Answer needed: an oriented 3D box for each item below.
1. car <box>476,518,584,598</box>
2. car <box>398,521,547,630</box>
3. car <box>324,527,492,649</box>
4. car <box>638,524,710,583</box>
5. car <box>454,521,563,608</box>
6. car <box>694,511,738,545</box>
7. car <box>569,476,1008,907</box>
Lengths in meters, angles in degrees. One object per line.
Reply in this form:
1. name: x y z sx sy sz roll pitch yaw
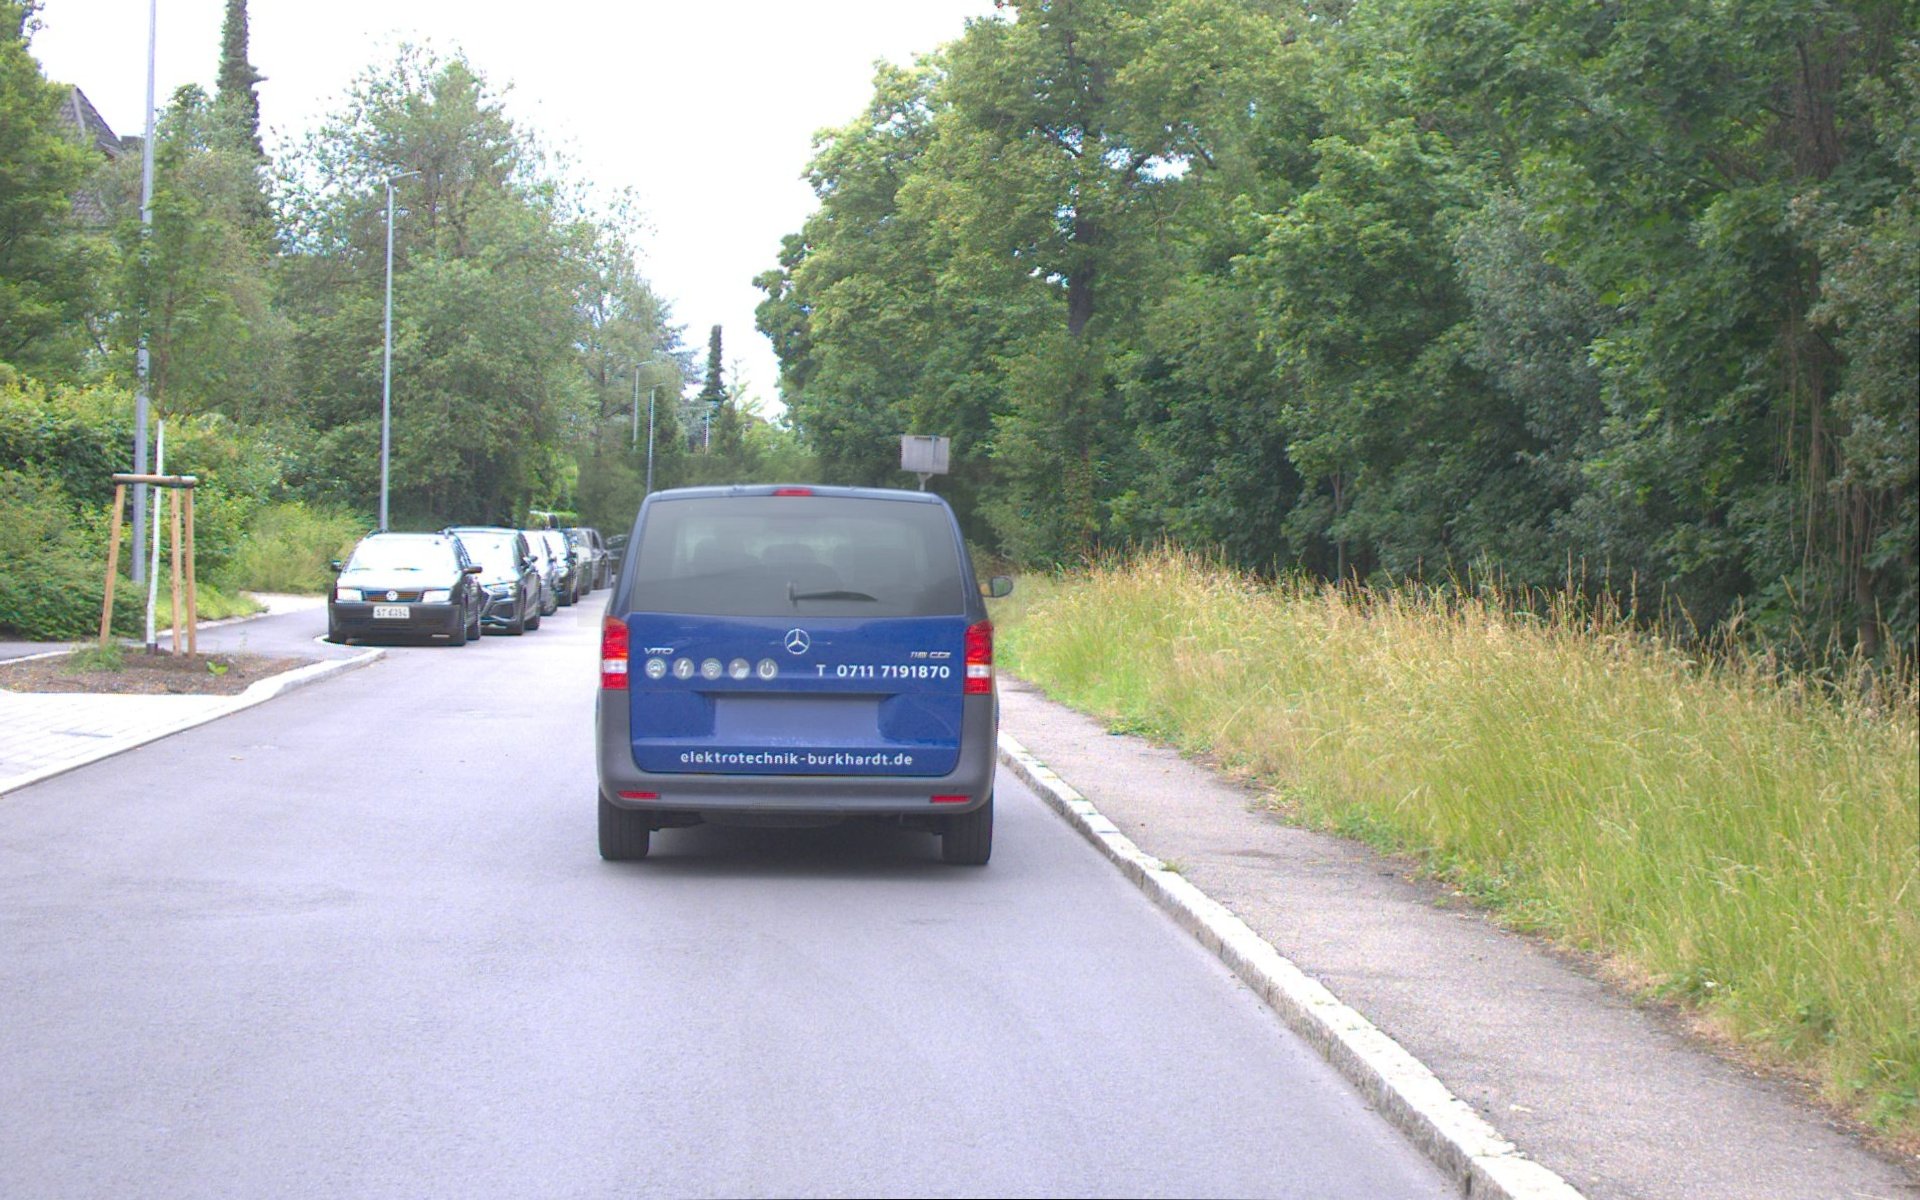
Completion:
1. car: -8.279 -0.839 66.544 1.778 1.427 5.106 2 1 -4
2. car: -7.037 -0.397 49.982 1.706 1.477 4.496 1 1 -2
3. car: -7.164 -0.199 45.002 1.682 1.477 4.694 1 1 -3
4. car: -7.503 -1.249 90.429 1.780 1.421 4.490 2 1 -4
5. car: -7.857 -0.643 60.069 1.624 1.427 4.352 1 1 -4
6. car: -12.546 -3.706 176.819 1.836 1.625 4.301 4 1 0
7. car: -0.914 0.342 17.350 1.888 1.837 4.001 2 2 -4
